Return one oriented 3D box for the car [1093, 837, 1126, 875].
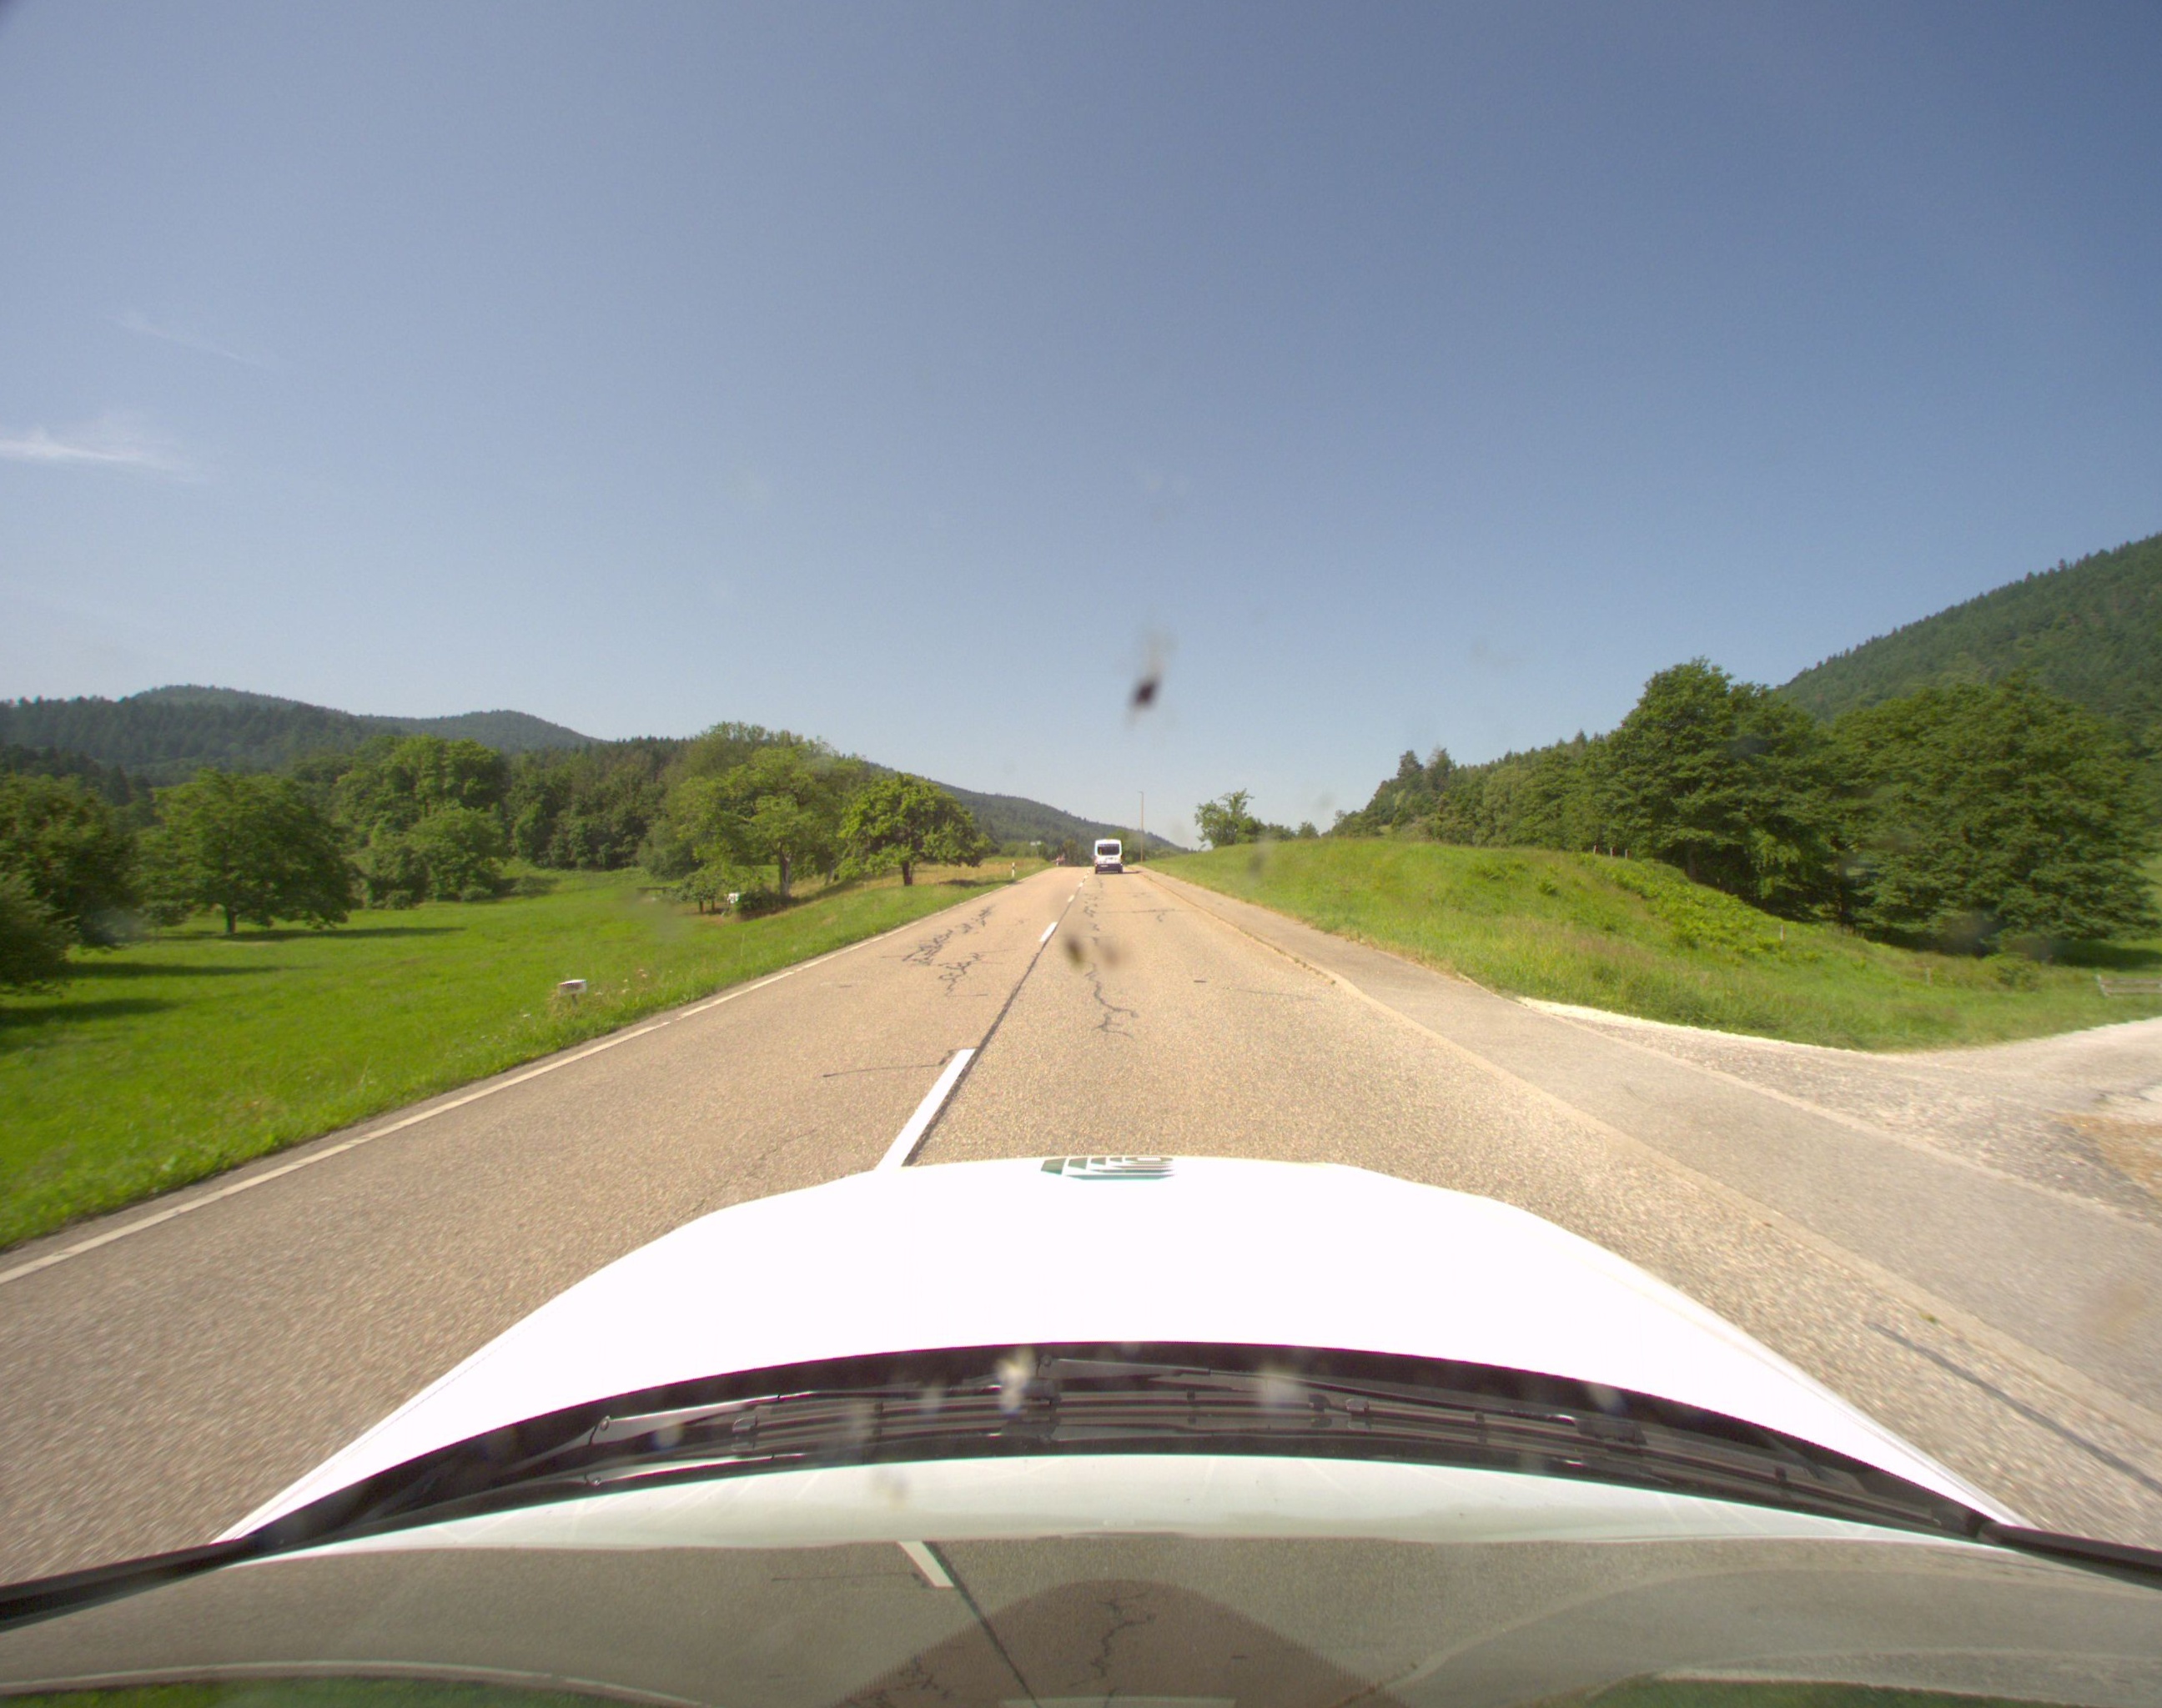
[{"bbox_3d":[2.071,0.185,60.000,2.214,2.526,4.985,-3,-2,1],"label":"car"}]
